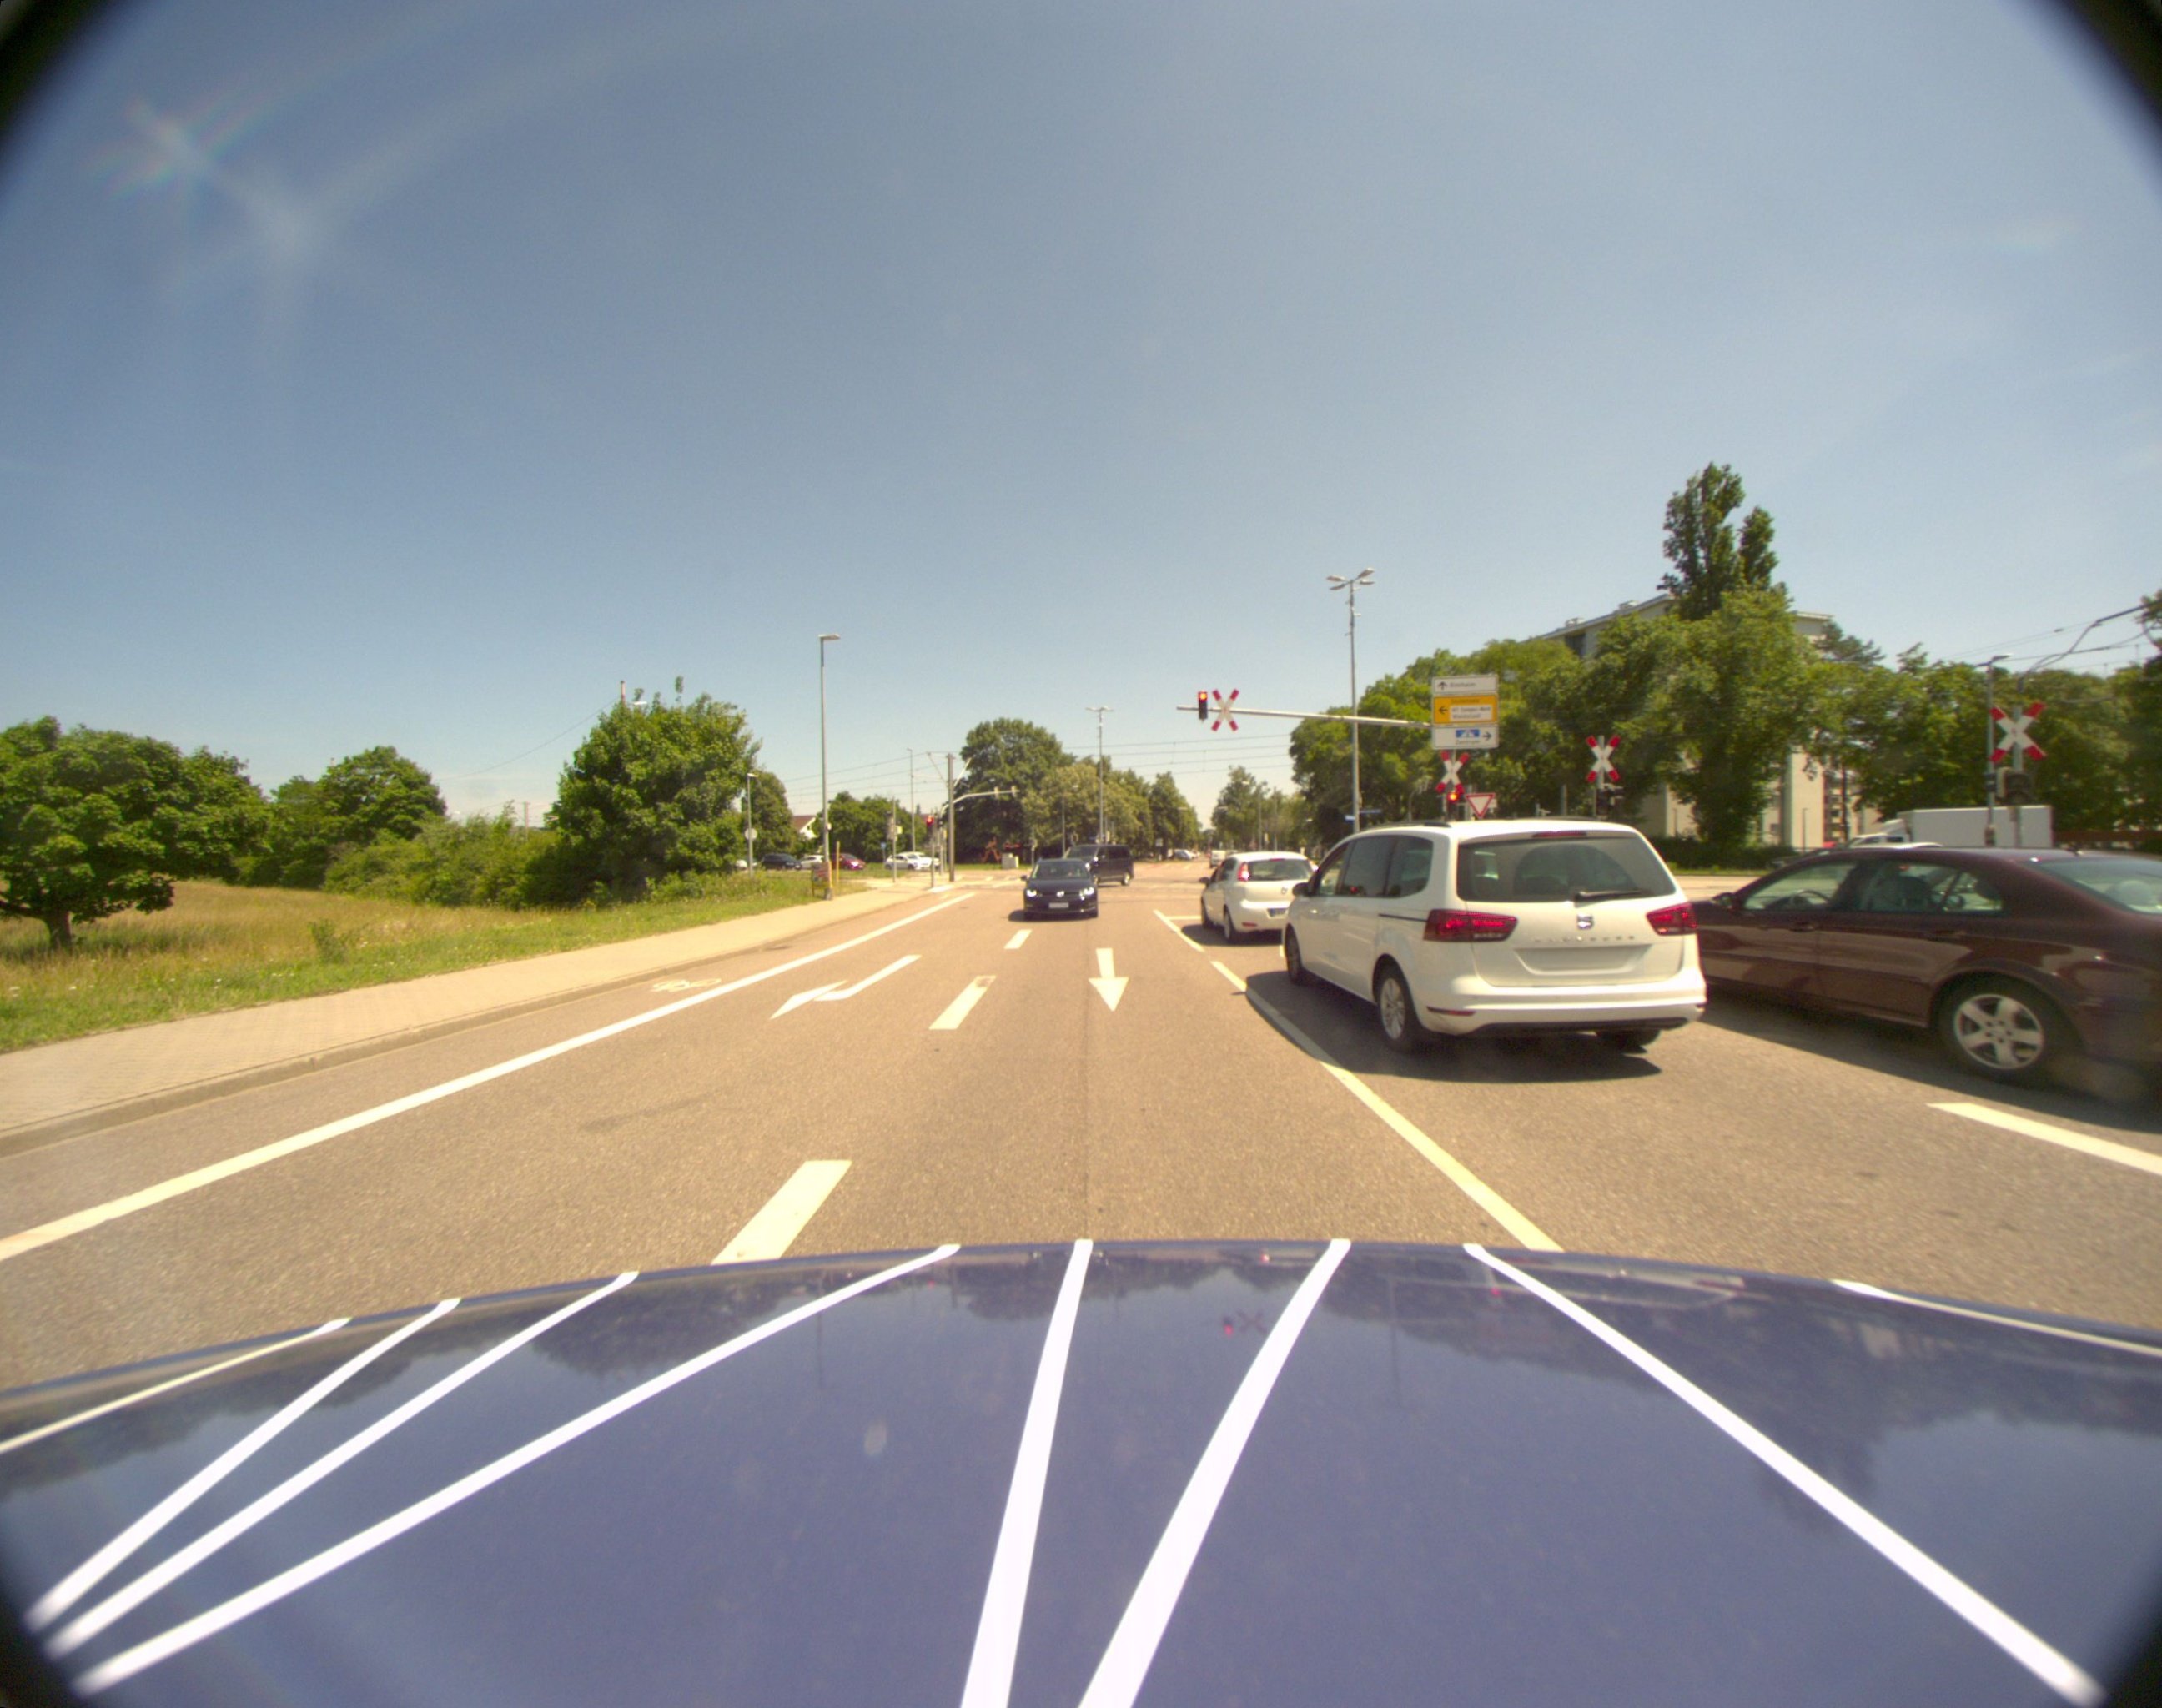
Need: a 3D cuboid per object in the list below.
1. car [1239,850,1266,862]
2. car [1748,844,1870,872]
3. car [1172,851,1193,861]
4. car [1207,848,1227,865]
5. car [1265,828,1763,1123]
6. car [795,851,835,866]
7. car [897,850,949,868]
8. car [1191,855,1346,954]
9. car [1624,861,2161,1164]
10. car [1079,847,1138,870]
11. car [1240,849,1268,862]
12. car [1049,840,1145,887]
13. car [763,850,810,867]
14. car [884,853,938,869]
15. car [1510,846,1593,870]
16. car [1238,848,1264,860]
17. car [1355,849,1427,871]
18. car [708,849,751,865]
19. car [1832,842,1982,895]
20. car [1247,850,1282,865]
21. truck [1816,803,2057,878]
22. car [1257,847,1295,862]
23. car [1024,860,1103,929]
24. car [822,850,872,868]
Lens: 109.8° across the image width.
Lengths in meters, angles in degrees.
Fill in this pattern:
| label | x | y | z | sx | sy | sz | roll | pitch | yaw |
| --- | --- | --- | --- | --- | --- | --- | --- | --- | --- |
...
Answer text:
| label | x | y | z | sx | sy | sz | roll | pitch | yaw |
| --- | --- | --- | --- | --- | --- | --- | --- | --- | --- |
| car | 23.037 | 0.245 | 102.142 | 3.487 | 1.545 | 1.586 | -2 | -2 | 8 |
| car | 35.584 | 0.228 | 37.288 | 3.989 | 1.279 | 1.751 | -1 | -2 | 29 |
| car | 17.822 | 0.354 | 133.121 | 3.487 | 1.467 | 1.586 | -2 | -2 | 8 |
| car | 13.699 | 0.264 | 76.467 | 1.808 | 1.707 | 4.346 | 0 | 0 | 8 |
| car | 3.152 | 0.717 | 6.921 | 1.816 | 1.713 | 4.831 | -1 | 0 | 1 |
| car | -27.908 | 0.462 | 79.581 | 3.888 | 1.496 | 1.735 | 0 | 0 | 27 |
| car | -14.146 | 0.488 | 67.902 | 4.400 | 1.567 | 1.879 | 0 | 0 | 32 |
| car | 3.195 | 0.790 | 13.741 | 1.772 | 1.429 | 3.960 | -2 | 0 | 0 |
| car | 6.295 | 0.813 | 5.431 | 1.764 | 1.448 | 4.285 | -1 | 0 | 0 |
| car | 2.255 | 0.410 | 61.992 | 4.380 | 1.782 | 1.901 | -1 | -2 | 30 |
| car | 22.787 | 0.188 | 100.037 | 3.487 | 1.545 | 1.586 | -2 | -2 | 8 |
| car | 0.801 | 0.449 | 34.263 | 1.937 | 1.919 | 4.857 | -2 | -2 | 34 |
| car | -27.900 | 0.418 | 72.057 | 4.400 | 1.567 | 1.879 | 0 | 0 | 32 |
| car | -14.392 | 0.594 | 64.254 | 4.400 | 1.380 | 1.879 | 0 | 0 | 32 |
| car | 28.648 | 0.264 | 46.372 | 4.203 | 1.416 | 1.853 | 0 | 0 | 32 |
| car | 23.532 | 0.046 | 105.263 | 3.487 | 1.570 | 1.586 | -2 | -2 | 8 |
| car | 20.945 | 0.389 | 51.370 | 4.203 | 1.416 | 1.853 | 0 | 0 | 31 |
| car | -35.057 | 0.328 | 75.834 | 4.400 | 1.567 | 1.734 | 0 | 0 | 32 |
| car | 25.354 | 0.473 | 23.323 | 4.262 | 1.536 | 1.744 | 1 | -2 | -22 |
| car | 19.684 | 0.371 | 81.580 | 3.487 | 1.419 | 1.586 | -2 | -2 | 8 |
| truck | 42.884 | -0.559 | 38.529 | 7.690 | 3.511 | 2.594 | -1 | -2 | 32 |
| car | 20.008 | 0.065 | 78.027 | 3.488 | 1.419 | 1.586 | -2 | -2 | 6 |
| car | -0.505 | 0.931 | 19.166 | 1.709 | 1.396 | 4.052 | -3 | 1 | -3 |
| car | -20.929 | 0.437 | 67.986 | 4.400 | 1.567 | 1.879 | 0 | 0 | 32 |
